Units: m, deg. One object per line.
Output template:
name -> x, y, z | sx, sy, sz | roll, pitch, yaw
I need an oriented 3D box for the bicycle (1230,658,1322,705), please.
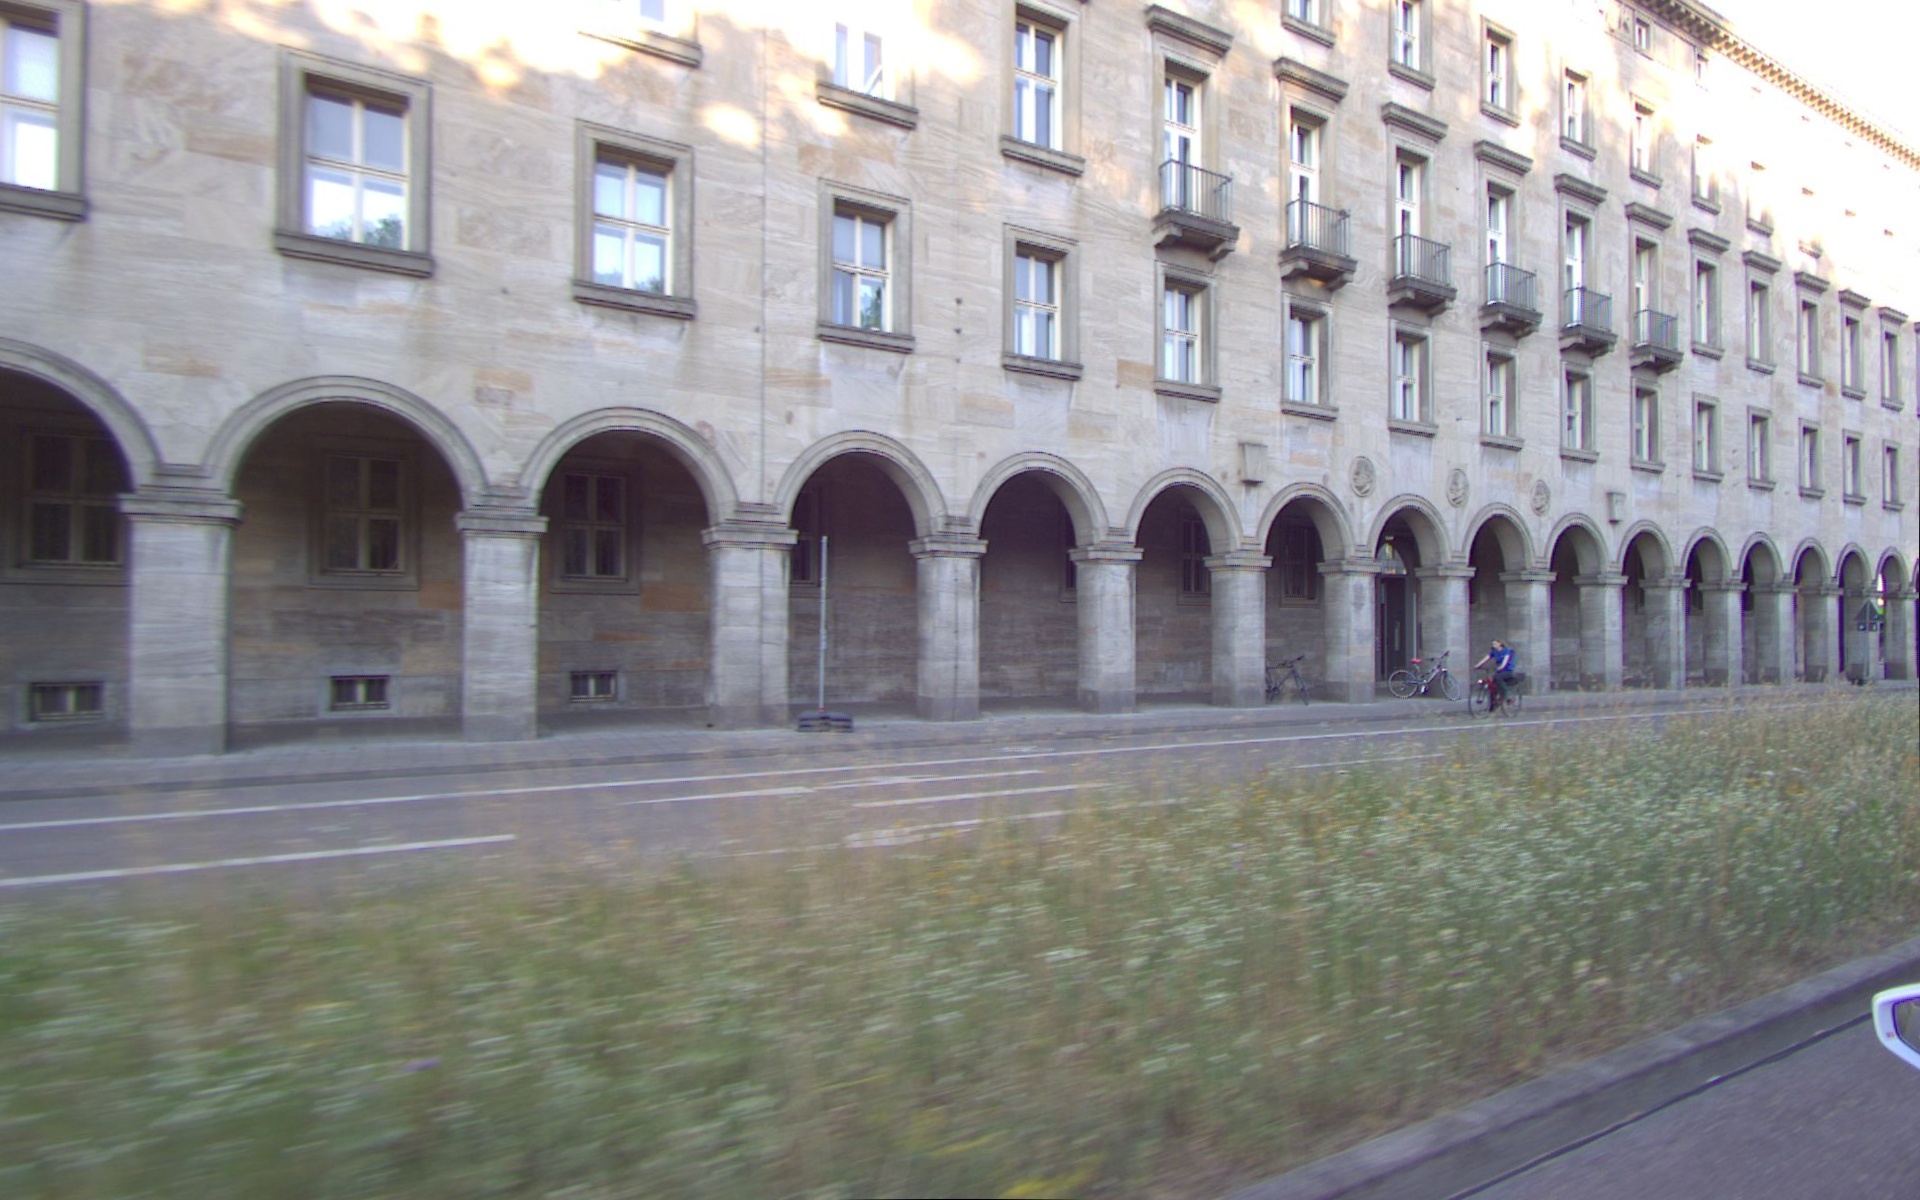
bicycle -> 7.009, 1.800, 22.279 | 1.969, 1.019, 0.478 | 1, -2, -11

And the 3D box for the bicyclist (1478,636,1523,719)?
bicyclist -> 11.493, 1.640, 21.373 | 0.739, 1.715, 0.534 | 2, -2, -29

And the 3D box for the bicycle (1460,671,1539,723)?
bicycle -> 11.476, 2.041, 21.358 | 1.982, 1.019, 0.539 | 2, -2, -31

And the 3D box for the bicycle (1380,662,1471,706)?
bicycle -> 11.394, 2.057, 24.629 | 1.964, 1.019, 0.479 | 0, -2, 6
